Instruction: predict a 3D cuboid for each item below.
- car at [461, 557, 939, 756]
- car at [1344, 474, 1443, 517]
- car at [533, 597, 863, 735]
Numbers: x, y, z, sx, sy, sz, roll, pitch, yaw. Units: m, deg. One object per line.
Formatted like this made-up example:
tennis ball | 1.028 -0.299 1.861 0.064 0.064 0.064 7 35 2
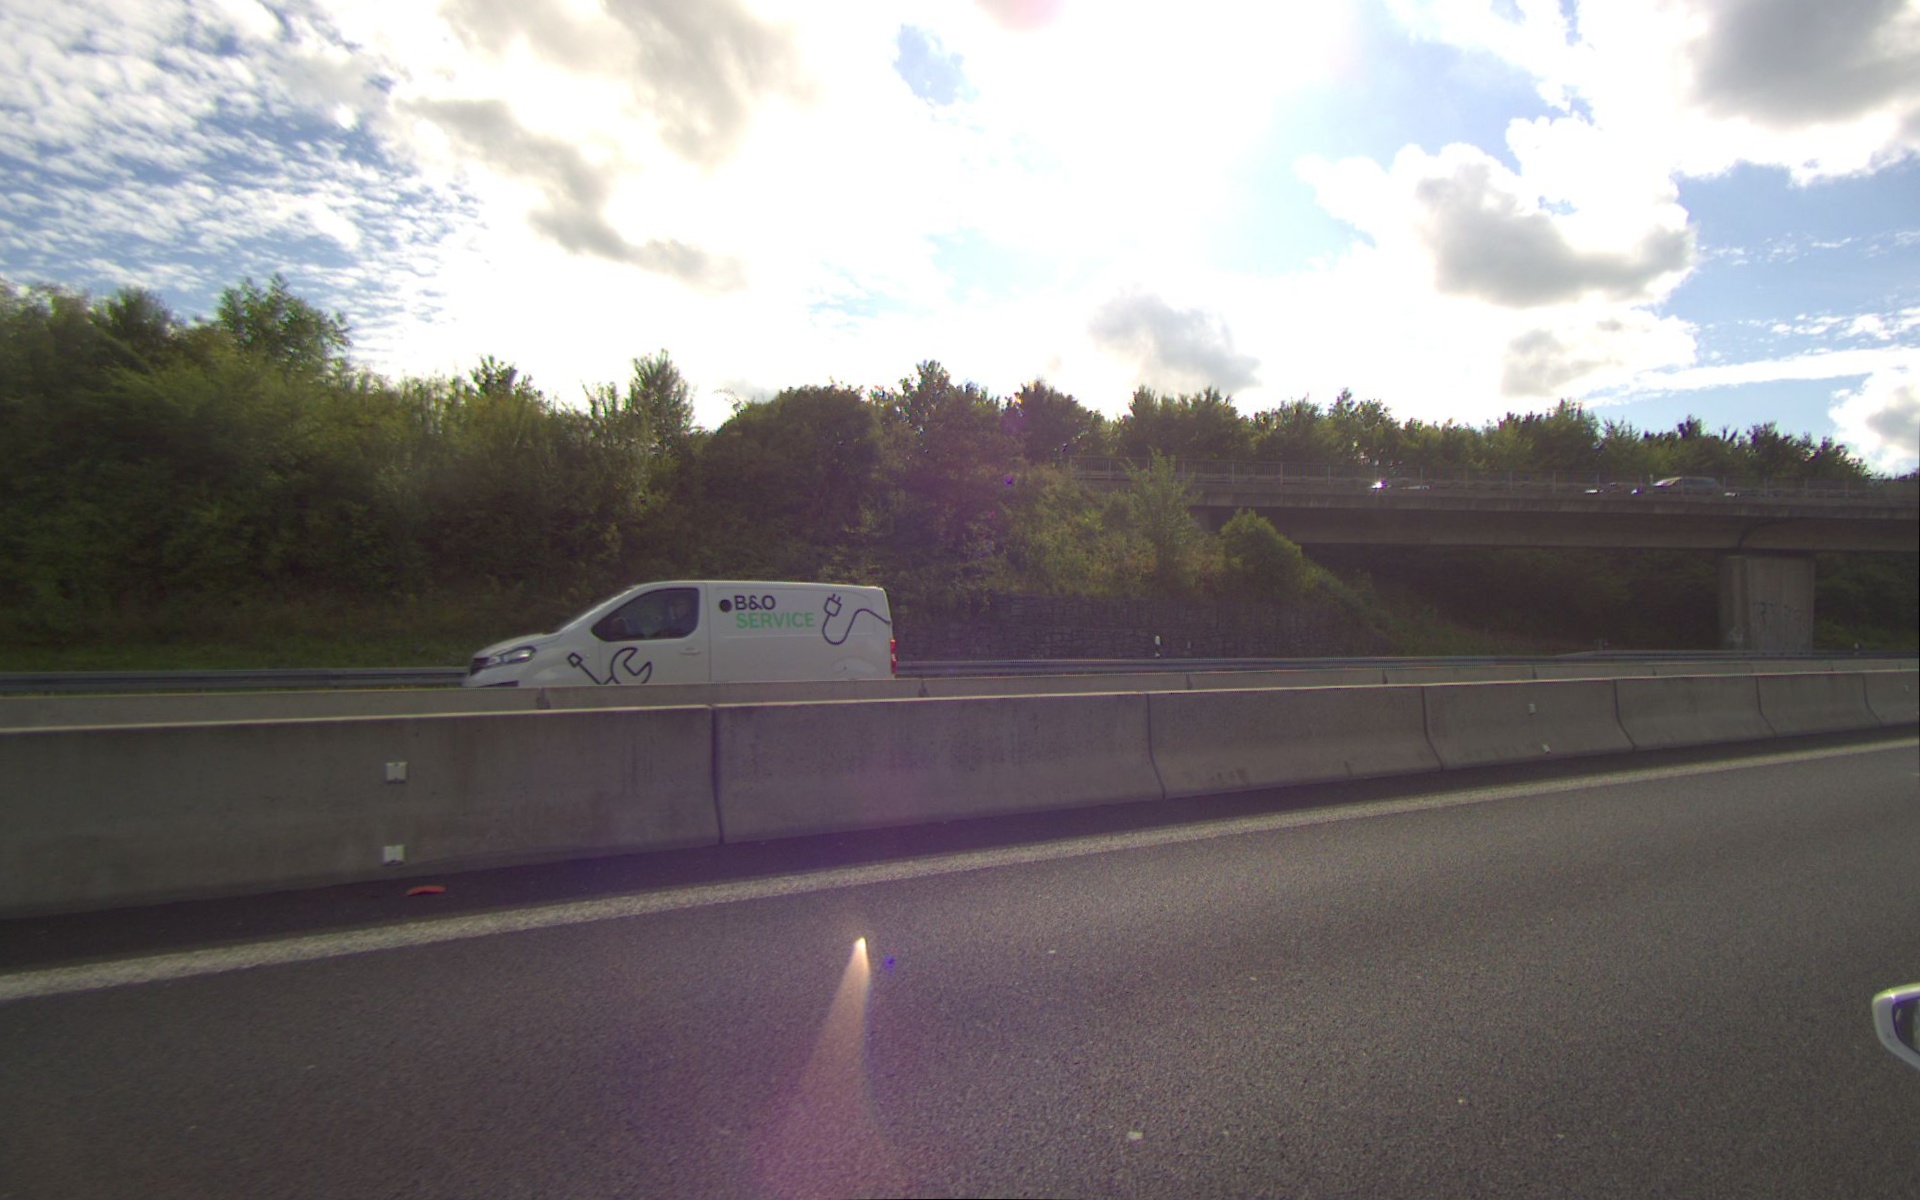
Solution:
car | -2.953 0.631 11.858 5.128 1.921 1.984 2 -2 -31
car | 23.744 -5.693 55.101 4.738 1.921 1.996 1 -2 -13
car | -4.138 1.010 16.099 4.766 1.921 1.984 2 -2 -31
